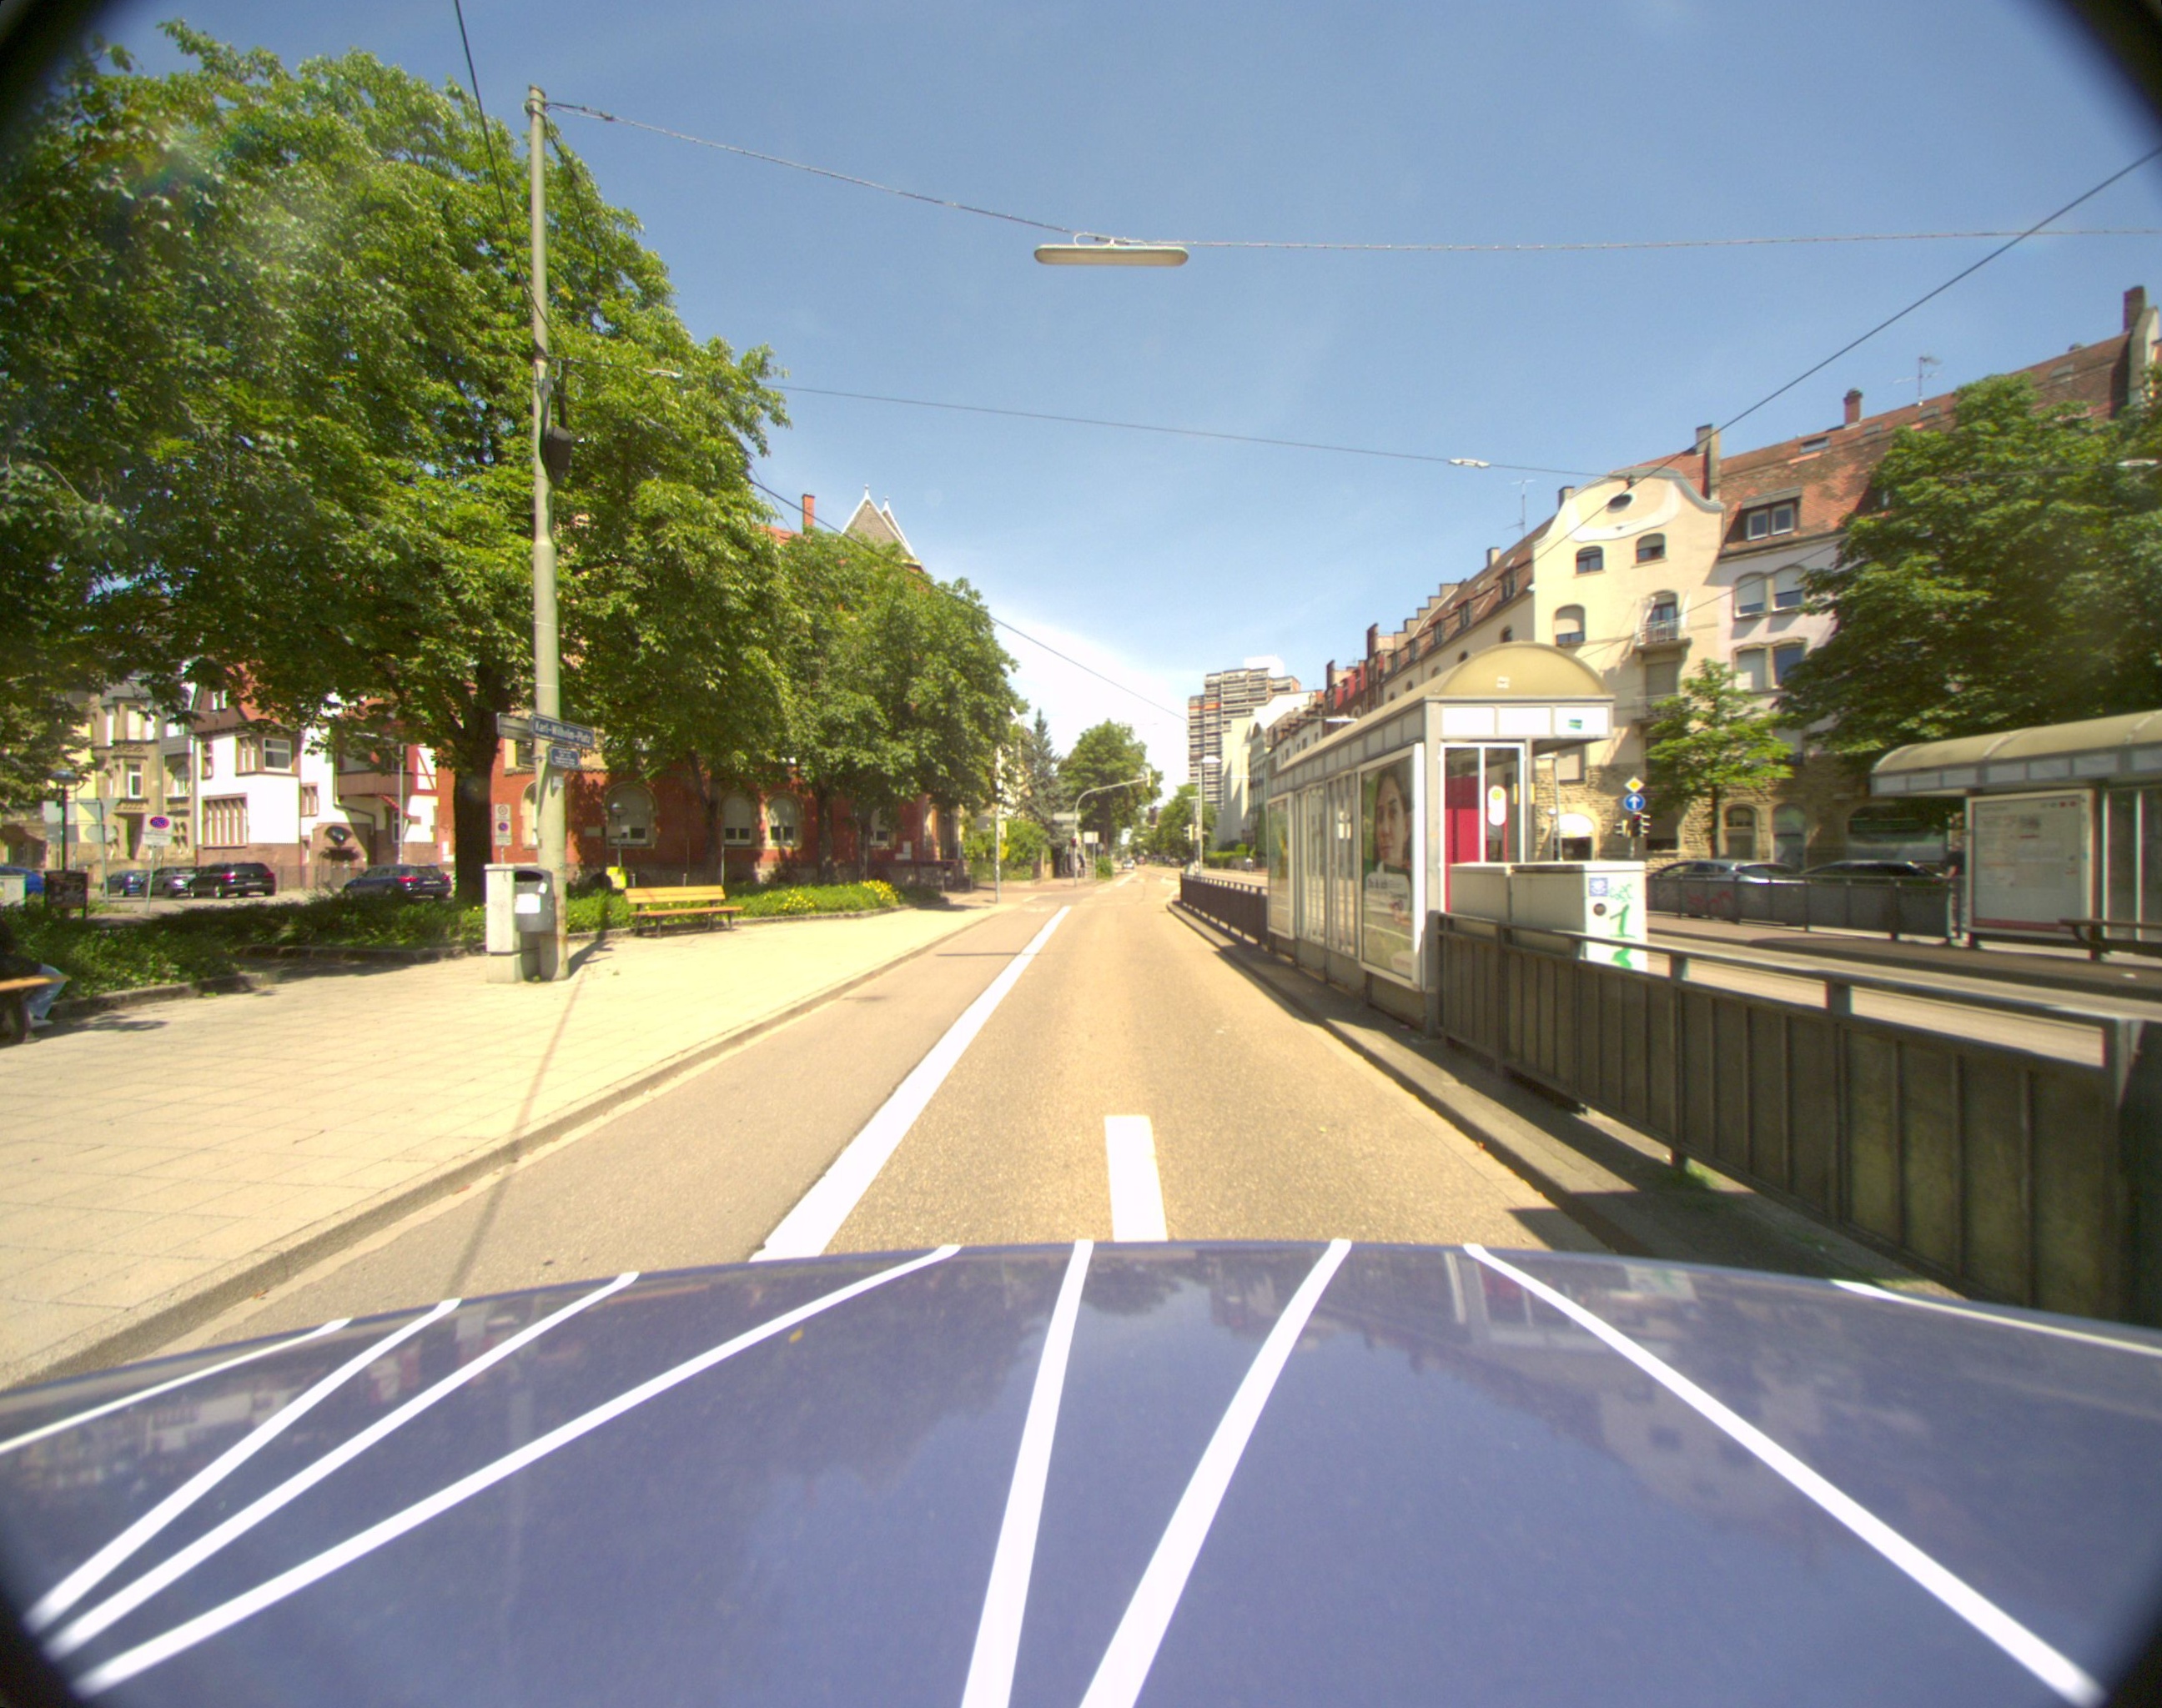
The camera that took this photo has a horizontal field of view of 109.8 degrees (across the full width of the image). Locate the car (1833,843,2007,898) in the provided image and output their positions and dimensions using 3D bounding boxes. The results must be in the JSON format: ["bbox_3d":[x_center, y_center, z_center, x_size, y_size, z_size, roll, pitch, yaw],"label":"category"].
[{"bbox_3d":[26.117,0.477,23.748,1.586,1.566,3.578,-2,1,-39],"label":"car"}]

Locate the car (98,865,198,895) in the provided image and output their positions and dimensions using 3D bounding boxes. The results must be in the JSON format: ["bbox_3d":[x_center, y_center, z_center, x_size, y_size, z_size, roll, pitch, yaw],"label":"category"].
[{"bbox_3d":[-48.757,1.349,39.712,4.605,1.456,1.908,-1,1,21],"label":"car"}]

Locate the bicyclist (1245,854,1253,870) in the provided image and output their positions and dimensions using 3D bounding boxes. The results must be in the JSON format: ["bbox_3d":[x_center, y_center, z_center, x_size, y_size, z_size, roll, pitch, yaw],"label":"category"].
[{"bbox_3d":[16.383,0.802,74.125,0.609,1.565,0.585,-1,1,1],"label":"bicyclist"}]

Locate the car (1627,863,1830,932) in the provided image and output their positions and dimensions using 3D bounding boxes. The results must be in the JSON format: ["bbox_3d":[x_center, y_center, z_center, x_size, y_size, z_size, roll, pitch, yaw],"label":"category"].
[{"bbox_3d":[14.784,0.927,17.630,1.544,1.331,3.718,-1,1,0],"label":"car"}]

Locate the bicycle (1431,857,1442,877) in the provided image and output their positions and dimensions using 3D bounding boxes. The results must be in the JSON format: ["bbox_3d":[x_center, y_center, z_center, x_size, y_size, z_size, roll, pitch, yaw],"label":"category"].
[{"bbox_3d":[22.832,0.809,48.782,0.454,1.218,2.083,-1,1,21],"label":"bicycle"}]

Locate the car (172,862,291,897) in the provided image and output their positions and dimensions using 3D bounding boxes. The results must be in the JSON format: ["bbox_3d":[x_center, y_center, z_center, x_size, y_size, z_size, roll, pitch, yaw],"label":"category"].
[{"bbox_3d":[-40.070,1.183,35.841,5.477,1.523,1.991,-1,1,22],"label":"car"}]

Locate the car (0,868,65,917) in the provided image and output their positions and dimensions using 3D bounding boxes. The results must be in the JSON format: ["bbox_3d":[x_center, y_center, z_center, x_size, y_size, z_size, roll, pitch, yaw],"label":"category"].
[{"bbox_3d":[-32.927,1.138,21.982,1.723,1.421,3.895,-1,-1,20],"label":"car"}]

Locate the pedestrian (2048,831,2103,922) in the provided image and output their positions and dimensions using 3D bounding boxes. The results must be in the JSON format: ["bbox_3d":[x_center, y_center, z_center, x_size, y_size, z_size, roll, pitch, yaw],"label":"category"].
[{"bbox_3d":[20.930,0.465,15.998,0.511,1.868,0.494,-1,1,6],"label":"pedestrian"}]

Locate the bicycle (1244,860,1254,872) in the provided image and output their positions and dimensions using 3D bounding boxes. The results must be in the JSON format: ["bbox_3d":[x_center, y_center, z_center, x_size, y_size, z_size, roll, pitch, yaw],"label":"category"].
[{"bbox_3d":[16.407,1.153,74.248,0.629,1.150,1.978,-1,0,1],"label":"bicycle"}]

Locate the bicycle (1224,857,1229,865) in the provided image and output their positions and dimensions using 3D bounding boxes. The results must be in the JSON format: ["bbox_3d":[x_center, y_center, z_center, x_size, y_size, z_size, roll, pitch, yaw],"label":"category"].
[{"bbox_3d":[19.244,0.955,100.527,0.290,1.040,1.900,-1,1,1],"label":"bicycle"}]

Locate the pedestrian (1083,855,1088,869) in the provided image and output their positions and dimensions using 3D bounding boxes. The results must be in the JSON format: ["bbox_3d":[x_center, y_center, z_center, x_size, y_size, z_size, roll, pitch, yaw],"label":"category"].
[{"bbox_3d":[0.523,1.030,93.553,0.547,1.683,0.755,0,1,1],"label":"pedestrian"}]

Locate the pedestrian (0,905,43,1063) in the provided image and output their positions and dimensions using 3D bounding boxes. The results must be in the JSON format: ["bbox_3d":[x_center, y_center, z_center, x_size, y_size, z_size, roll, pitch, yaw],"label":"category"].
[{"bbox_3d":[-7.802,0.914,5.286,0.510,1.085,0.478,1,0,7],"label":"pedestrian"}]

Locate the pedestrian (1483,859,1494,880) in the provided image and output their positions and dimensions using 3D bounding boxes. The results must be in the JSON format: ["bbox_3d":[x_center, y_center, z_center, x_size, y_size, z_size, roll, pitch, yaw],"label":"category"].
[{"bbox_3d":[22.971,0.857,42.846,0.406,1.142,0.405,-1,1,-2],"label":"pedestrian"}]

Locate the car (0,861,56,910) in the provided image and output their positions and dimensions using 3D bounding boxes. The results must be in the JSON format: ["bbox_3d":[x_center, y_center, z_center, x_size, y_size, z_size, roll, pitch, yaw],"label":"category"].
[{"bbox_3d":[-37.193,1.044,24.703,1.723,1.642,4.273,-1,-1,20],"label":"car"}]

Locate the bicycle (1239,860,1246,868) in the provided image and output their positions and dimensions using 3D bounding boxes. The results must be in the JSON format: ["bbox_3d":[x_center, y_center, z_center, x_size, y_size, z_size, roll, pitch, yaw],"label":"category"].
[{"bbox_3d":[18.837,1.126,88.511,0.463,0.943,1.954,-1,0,1],"label":"bicycle"}]

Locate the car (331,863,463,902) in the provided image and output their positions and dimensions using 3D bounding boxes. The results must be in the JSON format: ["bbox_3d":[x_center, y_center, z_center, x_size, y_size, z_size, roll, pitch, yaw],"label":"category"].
[{"bbox_3d":[-27.272,1.116,30.300,4.748,1.433,1.908,-1,1,21],"label":"car"}]

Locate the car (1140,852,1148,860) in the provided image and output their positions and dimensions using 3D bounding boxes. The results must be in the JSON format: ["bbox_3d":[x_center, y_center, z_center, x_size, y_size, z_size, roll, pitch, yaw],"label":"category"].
[{"bbox_3d":[15.745,0.592,189.780,1.848,1.926,4.823,1,1,2],"label":"car"}]

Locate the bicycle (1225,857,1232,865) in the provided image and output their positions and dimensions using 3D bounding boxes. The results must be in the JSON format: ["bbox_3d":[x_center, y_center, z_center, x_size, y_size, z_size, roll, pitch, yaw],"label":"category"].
[{"bbox_3d":[19.089,0.897,98.224,0.493,1.090,2.047,-1,0,1],"label":"bicycle"}]

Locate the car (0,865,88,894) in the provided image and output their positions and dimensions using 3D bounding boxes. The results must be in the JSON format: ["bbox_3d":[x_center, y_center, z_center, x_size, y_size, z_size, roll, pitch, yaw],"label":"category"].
[{"bbox_3d":[-59.609,1.434,43.633,4.391,1.547,1.908,-1,1,21],"label":"car"}]
